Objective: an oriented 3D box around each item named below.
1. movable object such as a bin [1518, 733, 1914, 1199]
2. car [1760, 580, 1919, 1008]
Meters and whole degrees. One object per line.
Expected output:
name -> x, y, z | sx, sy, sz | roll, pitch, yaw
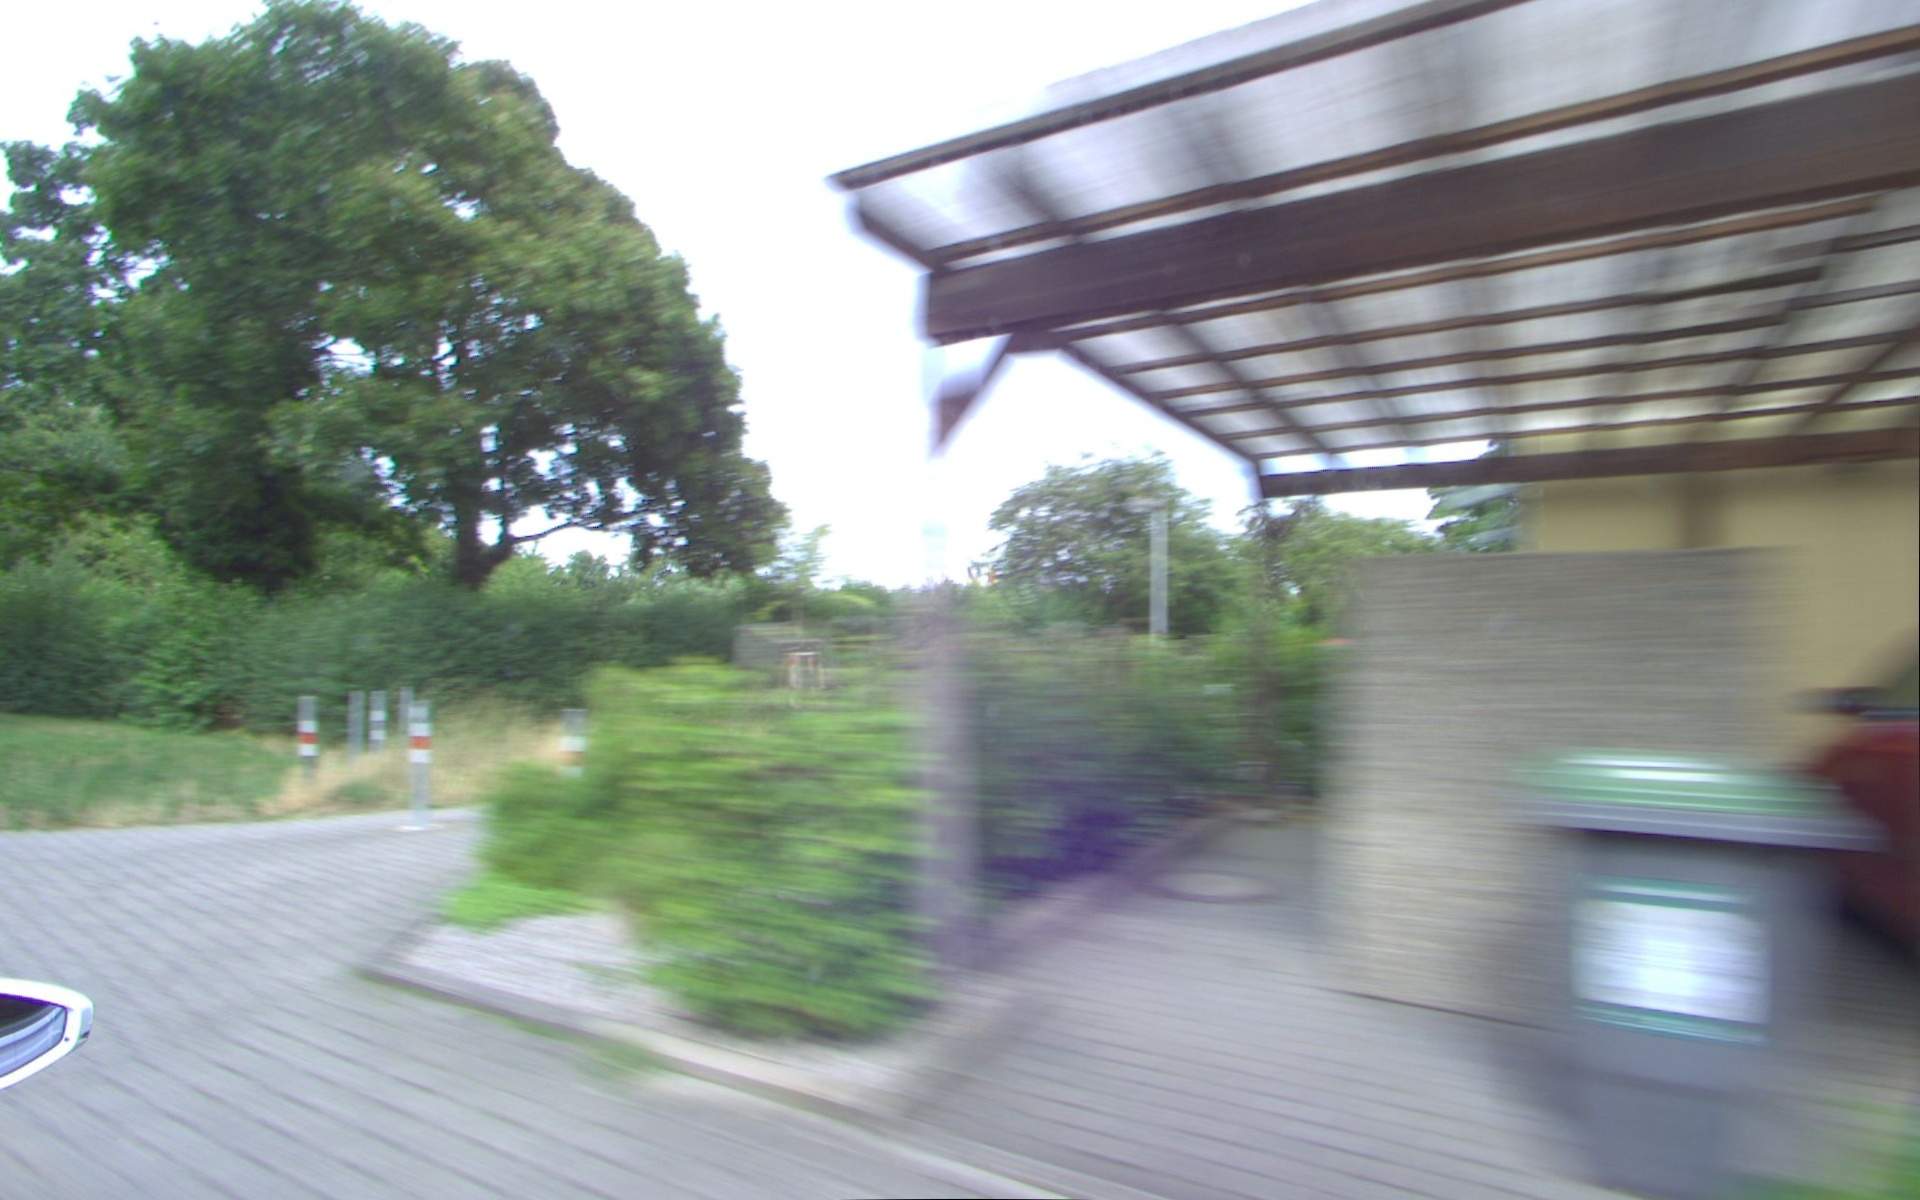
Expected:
movable object such as a bin -> 1.864, 0.940, 2.592 | 0.700, 1.086, 0.698 | -1, 0, 28
car -> 4.475, 0.706, 3.567 | 1.811, 1.560, 3.955 | -1, -1, 28
